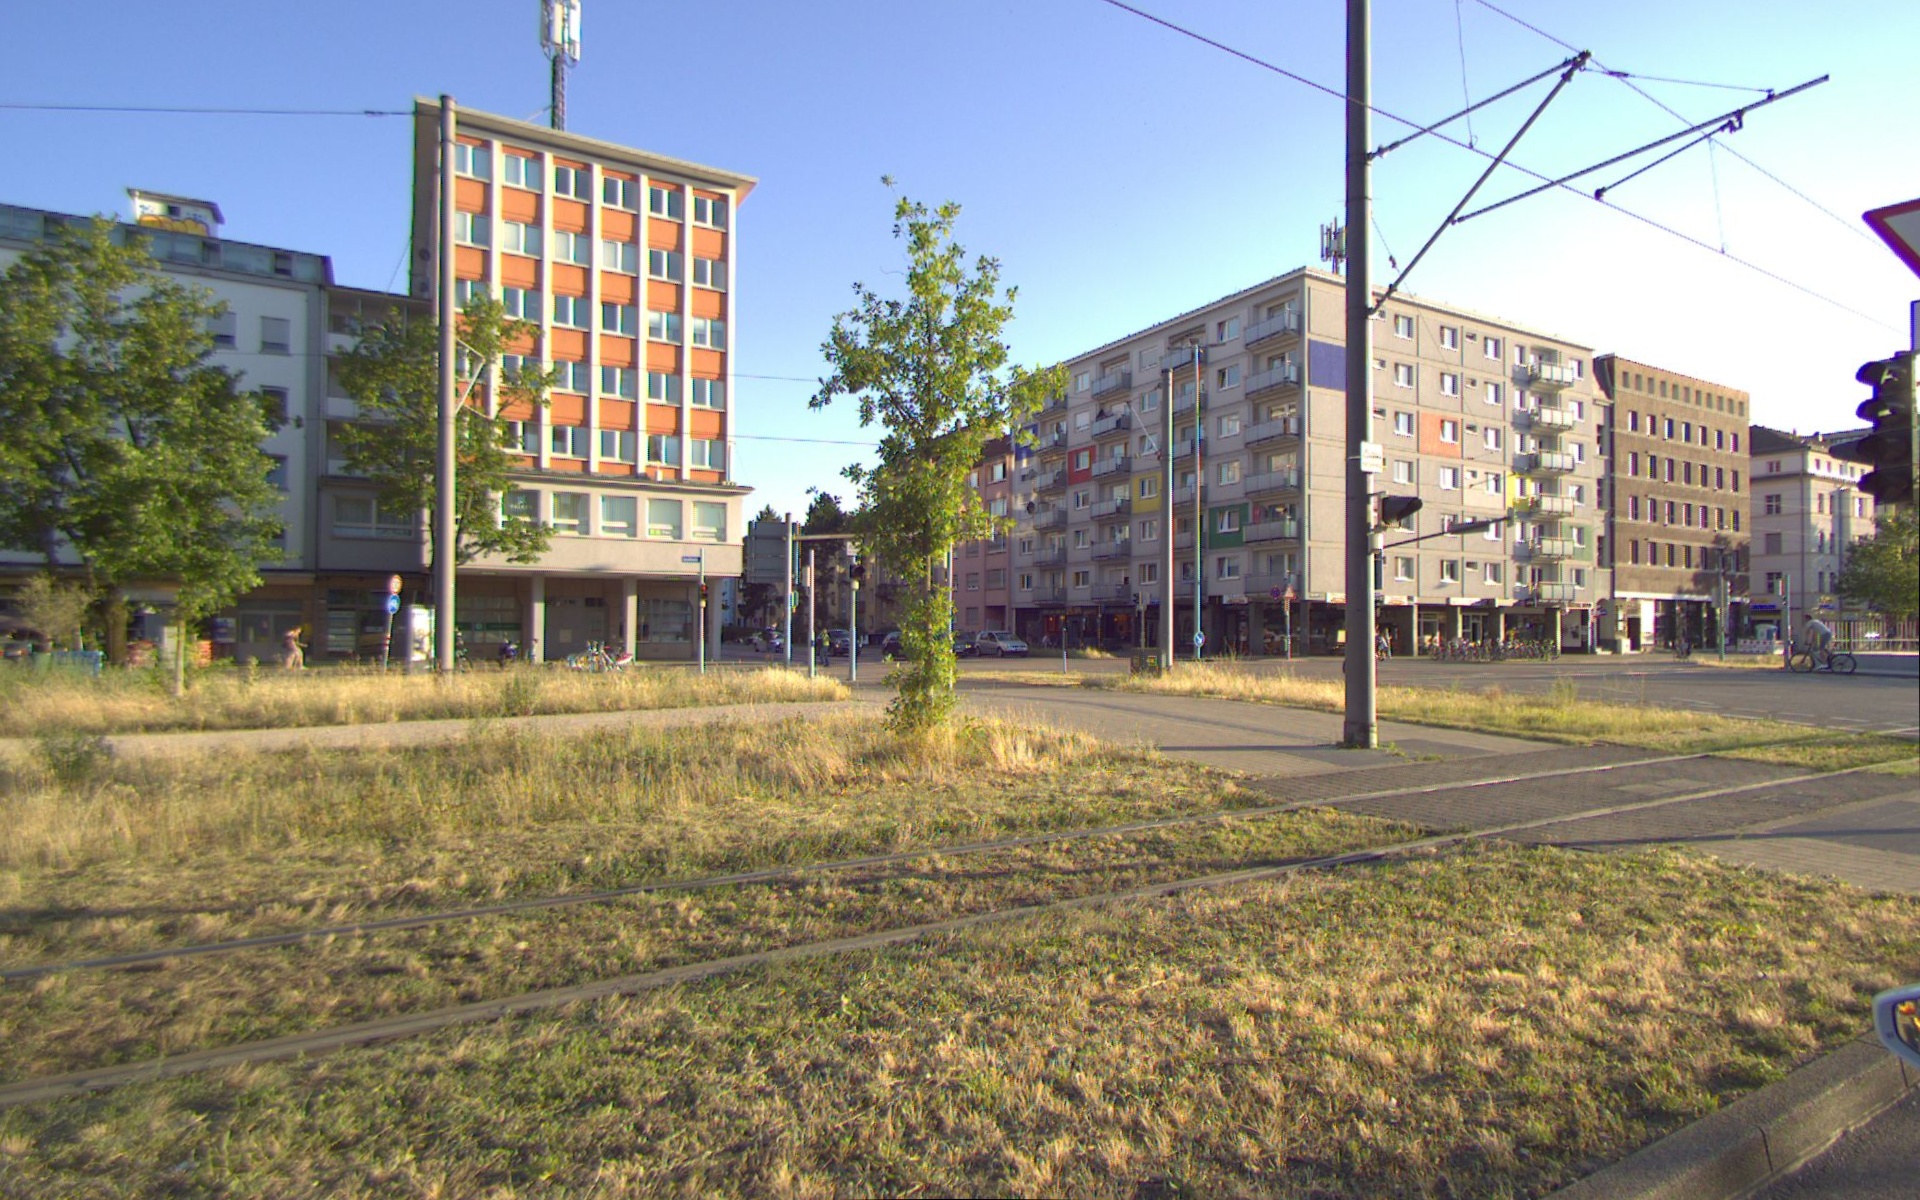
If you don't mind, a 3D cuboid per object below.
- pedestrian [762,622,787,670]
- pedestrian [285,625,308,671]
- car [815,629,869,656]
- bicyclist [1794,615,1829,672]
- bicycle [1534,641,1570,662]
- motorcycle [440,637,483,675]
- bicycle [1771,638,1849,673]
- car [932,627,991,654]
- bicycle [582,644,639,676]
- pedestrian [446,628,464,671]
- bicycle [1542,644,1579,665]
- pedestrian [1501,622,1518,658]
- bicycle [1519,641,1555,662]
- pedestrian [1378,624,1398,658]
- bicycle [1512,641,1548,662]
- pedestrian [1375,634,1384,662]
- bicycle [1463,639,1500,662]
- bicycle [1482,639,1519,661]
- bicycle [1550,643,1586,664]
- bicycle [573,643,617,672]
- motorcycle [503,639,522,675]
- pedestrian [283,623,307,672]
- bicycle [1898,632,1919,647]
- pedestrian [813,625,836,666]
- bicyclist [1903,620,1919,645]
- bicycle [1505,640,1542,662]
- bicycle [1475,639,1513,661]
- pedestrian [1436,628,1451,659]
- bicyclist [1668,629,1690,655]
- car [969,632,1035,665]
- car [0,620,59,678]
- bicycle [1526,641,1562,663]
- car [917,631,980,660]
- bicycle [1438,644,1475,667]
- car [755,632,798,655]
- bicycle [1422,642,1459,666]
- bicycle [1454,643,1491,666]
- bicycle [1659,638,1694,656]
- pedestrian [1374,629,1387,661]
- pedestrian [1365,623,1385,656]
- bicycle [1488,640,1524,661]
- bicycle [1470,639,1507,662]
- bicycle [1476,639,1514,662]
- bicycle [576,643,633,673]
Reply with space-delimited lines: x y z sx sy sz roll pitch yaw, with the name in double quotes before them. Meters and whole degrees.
"pedestrian" -7.572 1.873 41.096 0.708 1.972 0.720 -1 -2 43
"pedestrian" -25.670 1.858 38.871 0.690 1.774 0.646 1 -1 -30
"car" -7.249 2.588 61.453 1.975 1.551 3.971 1 -1 -28
"bicyclist" 27.905 1.420 32.910 0.641 1.842 0.786 1 -2 -41
"bicycle" 33.861 2.939 57.470 0.739 1.194 1.684 1 -1 -28
"motorcycle" -17.798 2.000 35.871 1.373 1.335 0.378 1 -1 -28
"bicycle" 27.865 1.815 32.952 0.628 1.089 1.883 1 -2 -43
"car" 0.042 2.383 59.842 1.974 1.505 3.974 1 -2 -26
"bicycle" -12.545 2.142 36.077 1.885 1.089 0.465 1 -1 -31
"pedestrian" -21.209 2.063 42.220 0.623 1.792 0.593 1 -1 -30
"bicycle" 34.541 3.135 57.815 0.739 1.185 1.684 1 -1 -28
"pedestrian" 33.780 2.464 61.732 0.783 2.207 0.599 1 -1 -30
"bicycle" 32.601 2.880 56.798 0.626 1.139 1.720 2 -2 -28
"pedestrian" 23.786 2.290 55.874 0.728 1.866 0.780 1 -2 -38
"bicycle" 32.041 2.871 56.516 0.561 1.134 1.753 1 -1 -29
"pedestrian" 21.693 2.471 51.926 0.376 1.401 0.394 0 -1 32
"bicycle" 28.186 2.733 54.288 0.534 1.183 1.758 1 -1 -29
"bicycle" 30.197 2.764 56.139 0.598 1.174 1.768 1 -2 -29
"bicycle" 35.183 3.107 58.149 0.688 1.159 1.684 1 -1 -28
"bicycle" -13.993 2.205 38.483 1.543 1.089 0.392 1 -1 -31
"motorcycle" -16.914 2.134 37.921 0.538 1.335 1.823 1 -1 -27
"pedestrian" -25.349 1.802 38.312 0.696 1.816 0.590 1 -1 -30
"bicycle" 78.321 3.283 82.781 2.382 1.217 0.809 1 -2 -28
"pedestrian" -6.307 2.103 46.686 0.879 1.855 0.885 1 -1 -20
"bicyclist" 78.527 2.668 82.860 0.912 2.040 0.794 1 -1 -28
"bicycle" 31.535 2.848 56.233 0.545 1.132 1.747 1 -1 -29
"bicycle" 29.658 2.749 55.791 0.632 1.176 1.823 1 -2 -29
"pedestrian" 26.764 2.381 55.622 0.541 1.706 0.575 1 -1 -35
"bicyclist" 39.954 2.348 55.839 0.841 1.445 0.501 0 -1 -4
"car" 2.296 2.650 55.549 1.974 1.506 3.973 2 1 -26
"car" -30.098 1.438 30.235 3.927 1.706 1.997 1 -1 -9
"bicycle" 33.206 2.936 57.109 0.696 1.168 1.684 1 -1 -28
"car" -0.674 2.474 55.049 1.974 1.505 3.974 2 -2 -26
"bicycle" 26.821 3.002 54.292 0.601 1.157 1.768 1 -2 -29
"car" -13.200 3.078 72.038 1.975 1.551 3.971 1 -2 -28
"bicycle" 25.803 2.902 53.952 0.631 1.224 1.786 1 -2 -30
"bicycle" 27.620 2.934 54.131 0.592 1.154 1.749 1 -1 -29
"bicycle" 39.820 2.603 55.828 1.636 0.957 0.509 0 -1 -4
"pedestrian" 21.506 2.289 51.365 0.563 1.641 0.602 0 -1 29
"pedestrian" 23.471 2.251 56.762 0.715 1.837 0.820 1 -1 -40
"bicycle" 30.722 2.836 56.541 0.598 1.151 1.763 1 -2 -29
"bicycle" 28.706 2.758 54.575 0.561 1.197 1.761 1 -1 -29
"bicycle" 29.253 2.752 54.905 0.644 1.206 1.780 1 -2 -30
"bicycle" -13.257 2.144 37.480 1.972 1.089 0.465 1 -1 -31
